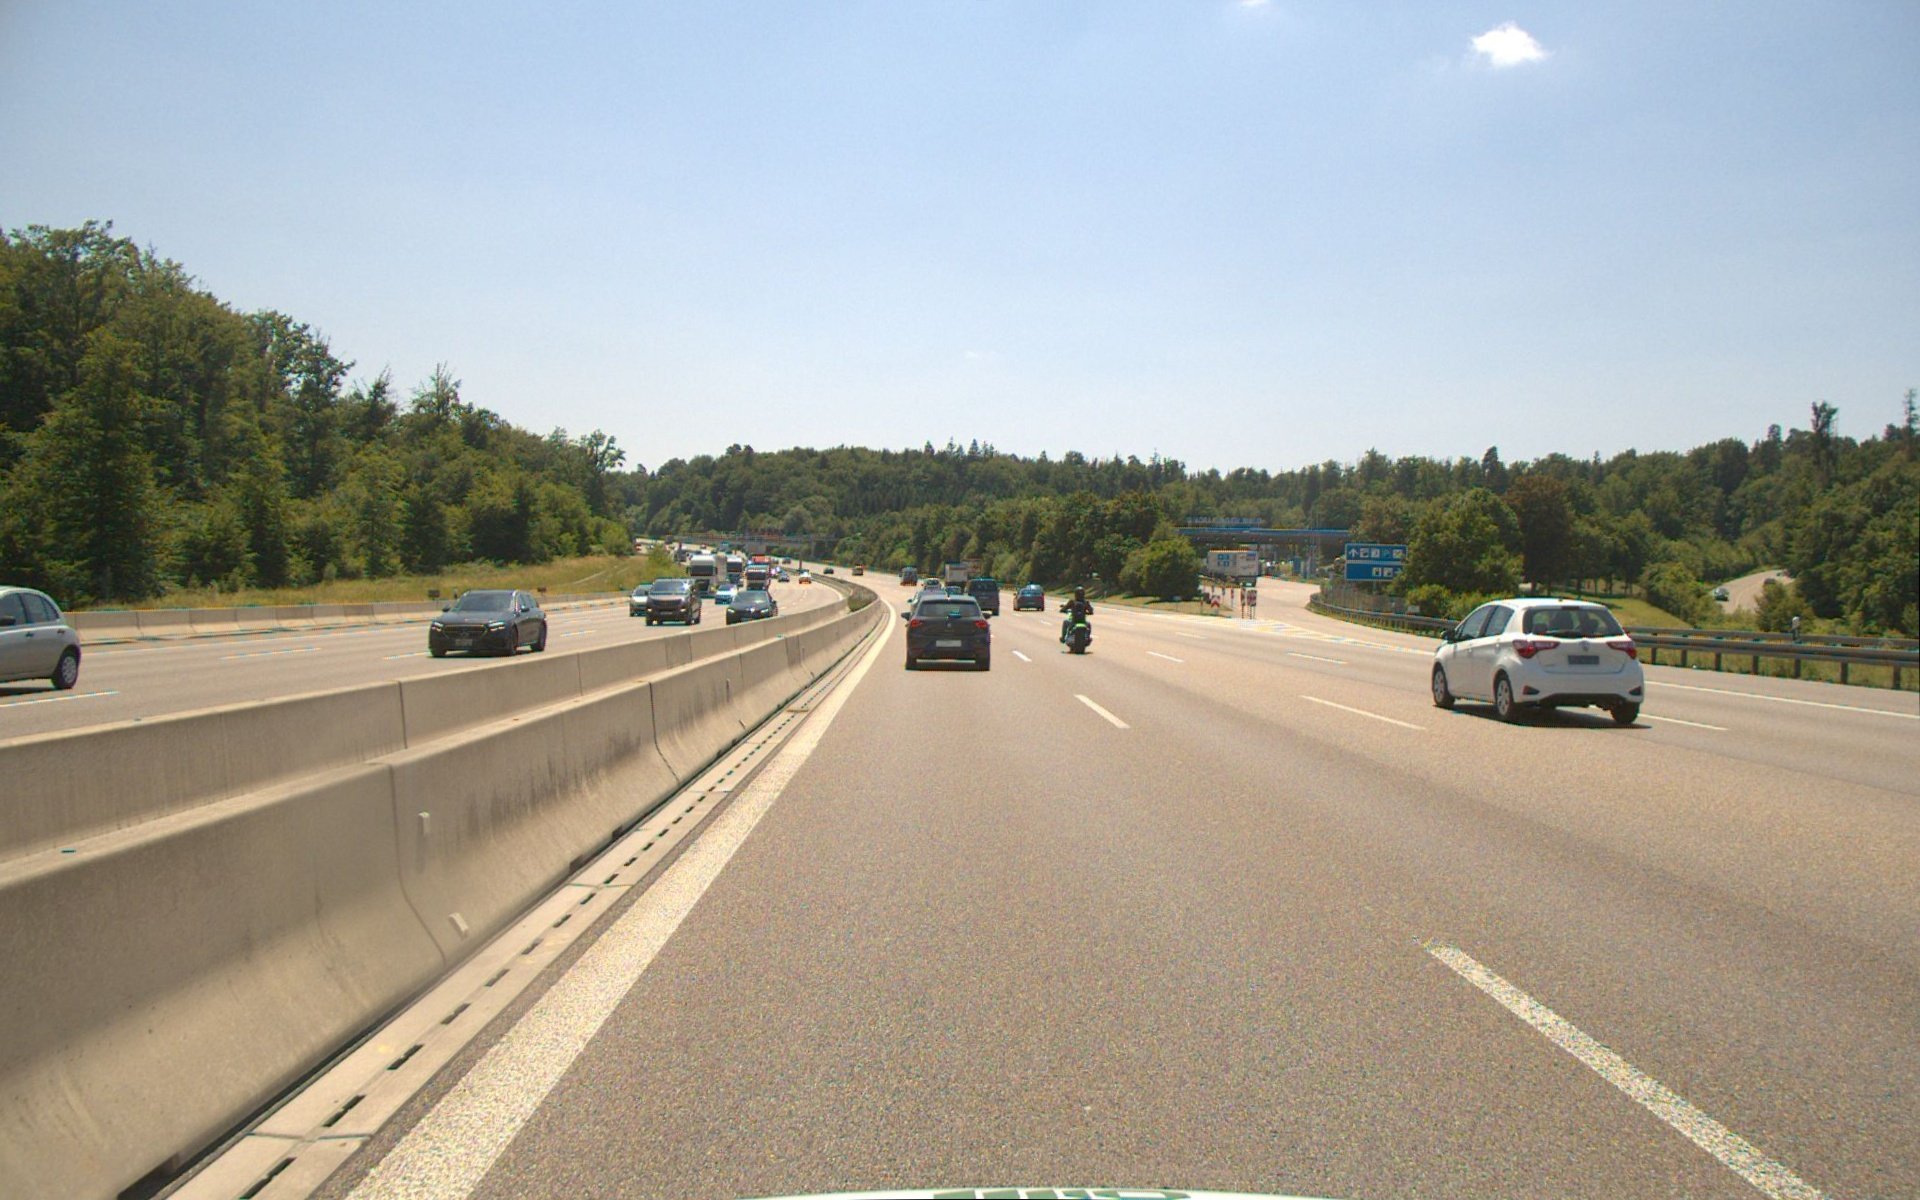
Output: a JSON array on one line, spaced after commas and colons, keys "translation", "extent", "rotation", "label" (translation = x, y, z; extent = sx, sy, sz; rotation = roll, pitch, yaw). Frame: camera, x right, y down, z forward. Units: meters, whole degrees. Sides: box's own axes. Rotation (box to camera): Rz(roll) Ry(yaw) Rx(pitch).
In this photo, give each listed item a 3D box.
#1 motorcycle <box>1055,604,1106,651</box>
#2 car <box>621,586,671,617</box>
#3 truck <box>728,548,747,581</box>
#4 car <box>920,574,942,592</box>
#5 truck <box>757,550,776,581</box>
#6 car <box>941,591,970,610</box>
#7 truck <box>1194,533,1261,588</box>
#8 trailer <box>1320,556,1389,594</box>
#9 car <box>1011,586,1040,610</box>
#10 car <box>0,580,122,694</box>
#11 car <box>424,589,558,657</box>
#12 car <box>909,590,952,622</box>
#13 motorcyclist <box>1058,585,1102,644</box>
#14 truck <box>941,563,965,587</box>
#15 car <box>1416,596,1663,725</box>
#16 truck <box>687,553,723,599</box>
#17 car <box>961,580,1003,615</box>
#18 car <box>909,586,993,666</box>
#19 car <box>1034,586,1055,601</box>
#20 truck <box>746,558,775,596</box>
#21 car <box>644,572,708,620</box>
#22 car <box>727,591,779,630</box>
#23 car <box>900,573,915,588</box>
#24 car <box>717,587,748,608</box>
[{"translation": [3.039, 0.676, 42.007], "extent": [0.958, 1.149, 2.269], "rotation": [1, 0, -4], "label": "motorcycle"}, {"translation": [-16.712, 0.072, 88.304], "extent": [1.834, 1.561, 4.812], "rotation": [-1, 0, -1], "label": "car"}, {"translation": [-31.283, -5.027, 232.522], "extent": [2.453, 4.426, 6.598], "rotation": [0, 2, -6], "label": "truck"}, {"translation": [-2.982, -1.726, 168.215], "extent": [1.954, 1.713, 4.421], "rotation": [3, 1, -4], "label": "car"}, {"translation": [-29.113, -5.205, 248.664], "extent": [2.451, 4.427, 6.601], "rotation": [1, 1, -4], "label": "truck"}, {"translation": [-0.371, 0.016, 121.891], "extent": [1.806, 1.243, 4.221], "rotation": [3, 1, -4], "label": "car"}, {"translation": [32.759, -4.730, 203.480], "extent": [5.396, 6.375, 15.427], "rotation": [0, 0, -1], "label": "truck"}, {"translation": [41.848, -2.720, 175.127], "extent": [3.101, 3.700, 13.591], "rotation": [1, 2, 31], "label": "trailer"}, {"translation": [4.132, -0.137, 105.061], "extent": [1.641, 1.456, 3.684], "rotation": [2, 0, -1], "label": "car"}, {"translation": [-14.144, 0.506, 24.109], "extent": [1.834, 1.561, 4.135], "rotation": [0, 0, -2], "label": "car"}, {"translation": [-11.085, 0.512, 39.459], "extent": [1.834, 1.502, 5.110], "rotation": [0, 0, -1], "label": "car"}, {"translation": [-1.274, 0.244, 70.681], "extent": [1.747, 1.287, 3.458], "rotation": [0, 0, -2], "label": "car"}, {"translation": [3.029, 0.357, 41.918], "extent": [0.943, 1.462, 1.234], "rotation": [0, 1, -4], "label": "motorcyclist"}, {"translation": [-0.958, -3.250, 214.159], "extent": [2.673, 2.834, 5.679], "rotation": [3, 1, -4], "label": "truck"}, {"translation": [7.401, 0.706, 21.580], "extent": [1.632, 1.458, 4.375], "rotation": [-2, 0, 0], "label": "car"}, {"translation": [-24.116, -2.224, 156.757], "extent": [2.628, 4.250, 6.229], "rotation": [0, 1, -2], "label": "truck"}, {"translation": [1.215, -0.158, 93.601], "extent": [2.055, 1.884, 4.078], "rotation": [0, 0, -3], "label": "car"}, {"translation": [-0.151, 0.486, 33.583], "extent": [1.591, 1.513, 3.685], "rotation": [1, 0, 0], "label": "car"}, {"translation": [7.093, -0.533, 138.978], "extent": [1.576, 1.233, 3.459], "rotation": [0, 0, -1], "label": "car"}, {"translation": [-22.960, -2.679, 190.873], "extent": [2.480, 4.250, 9.616], "rotation": [0, 1, -2], "label": "truck"}, {"translation": [-11.986, -0.171, 70.143], "extent": [1.834, 1.974, 5.773], "rotation": [0, 0, -1], "label": "car"}, {"translation": [-8.115, 0.402, 65.135], "extent": [1.569, 1.494, 4.504], "rotation": [0, 0, -1], "label": "car"}, {"translation": [-7.704, -2.895, 241.965], "extent": [1.954, 2.048, 4.671], "rotation": [3, 1, -4], "label": "car"}, {"translation": [-17.667, -0.201, 128.587], "extent": [1.834, 1.506, 4.812], "rotation": [1, 0, -2], "label": "car"}]
